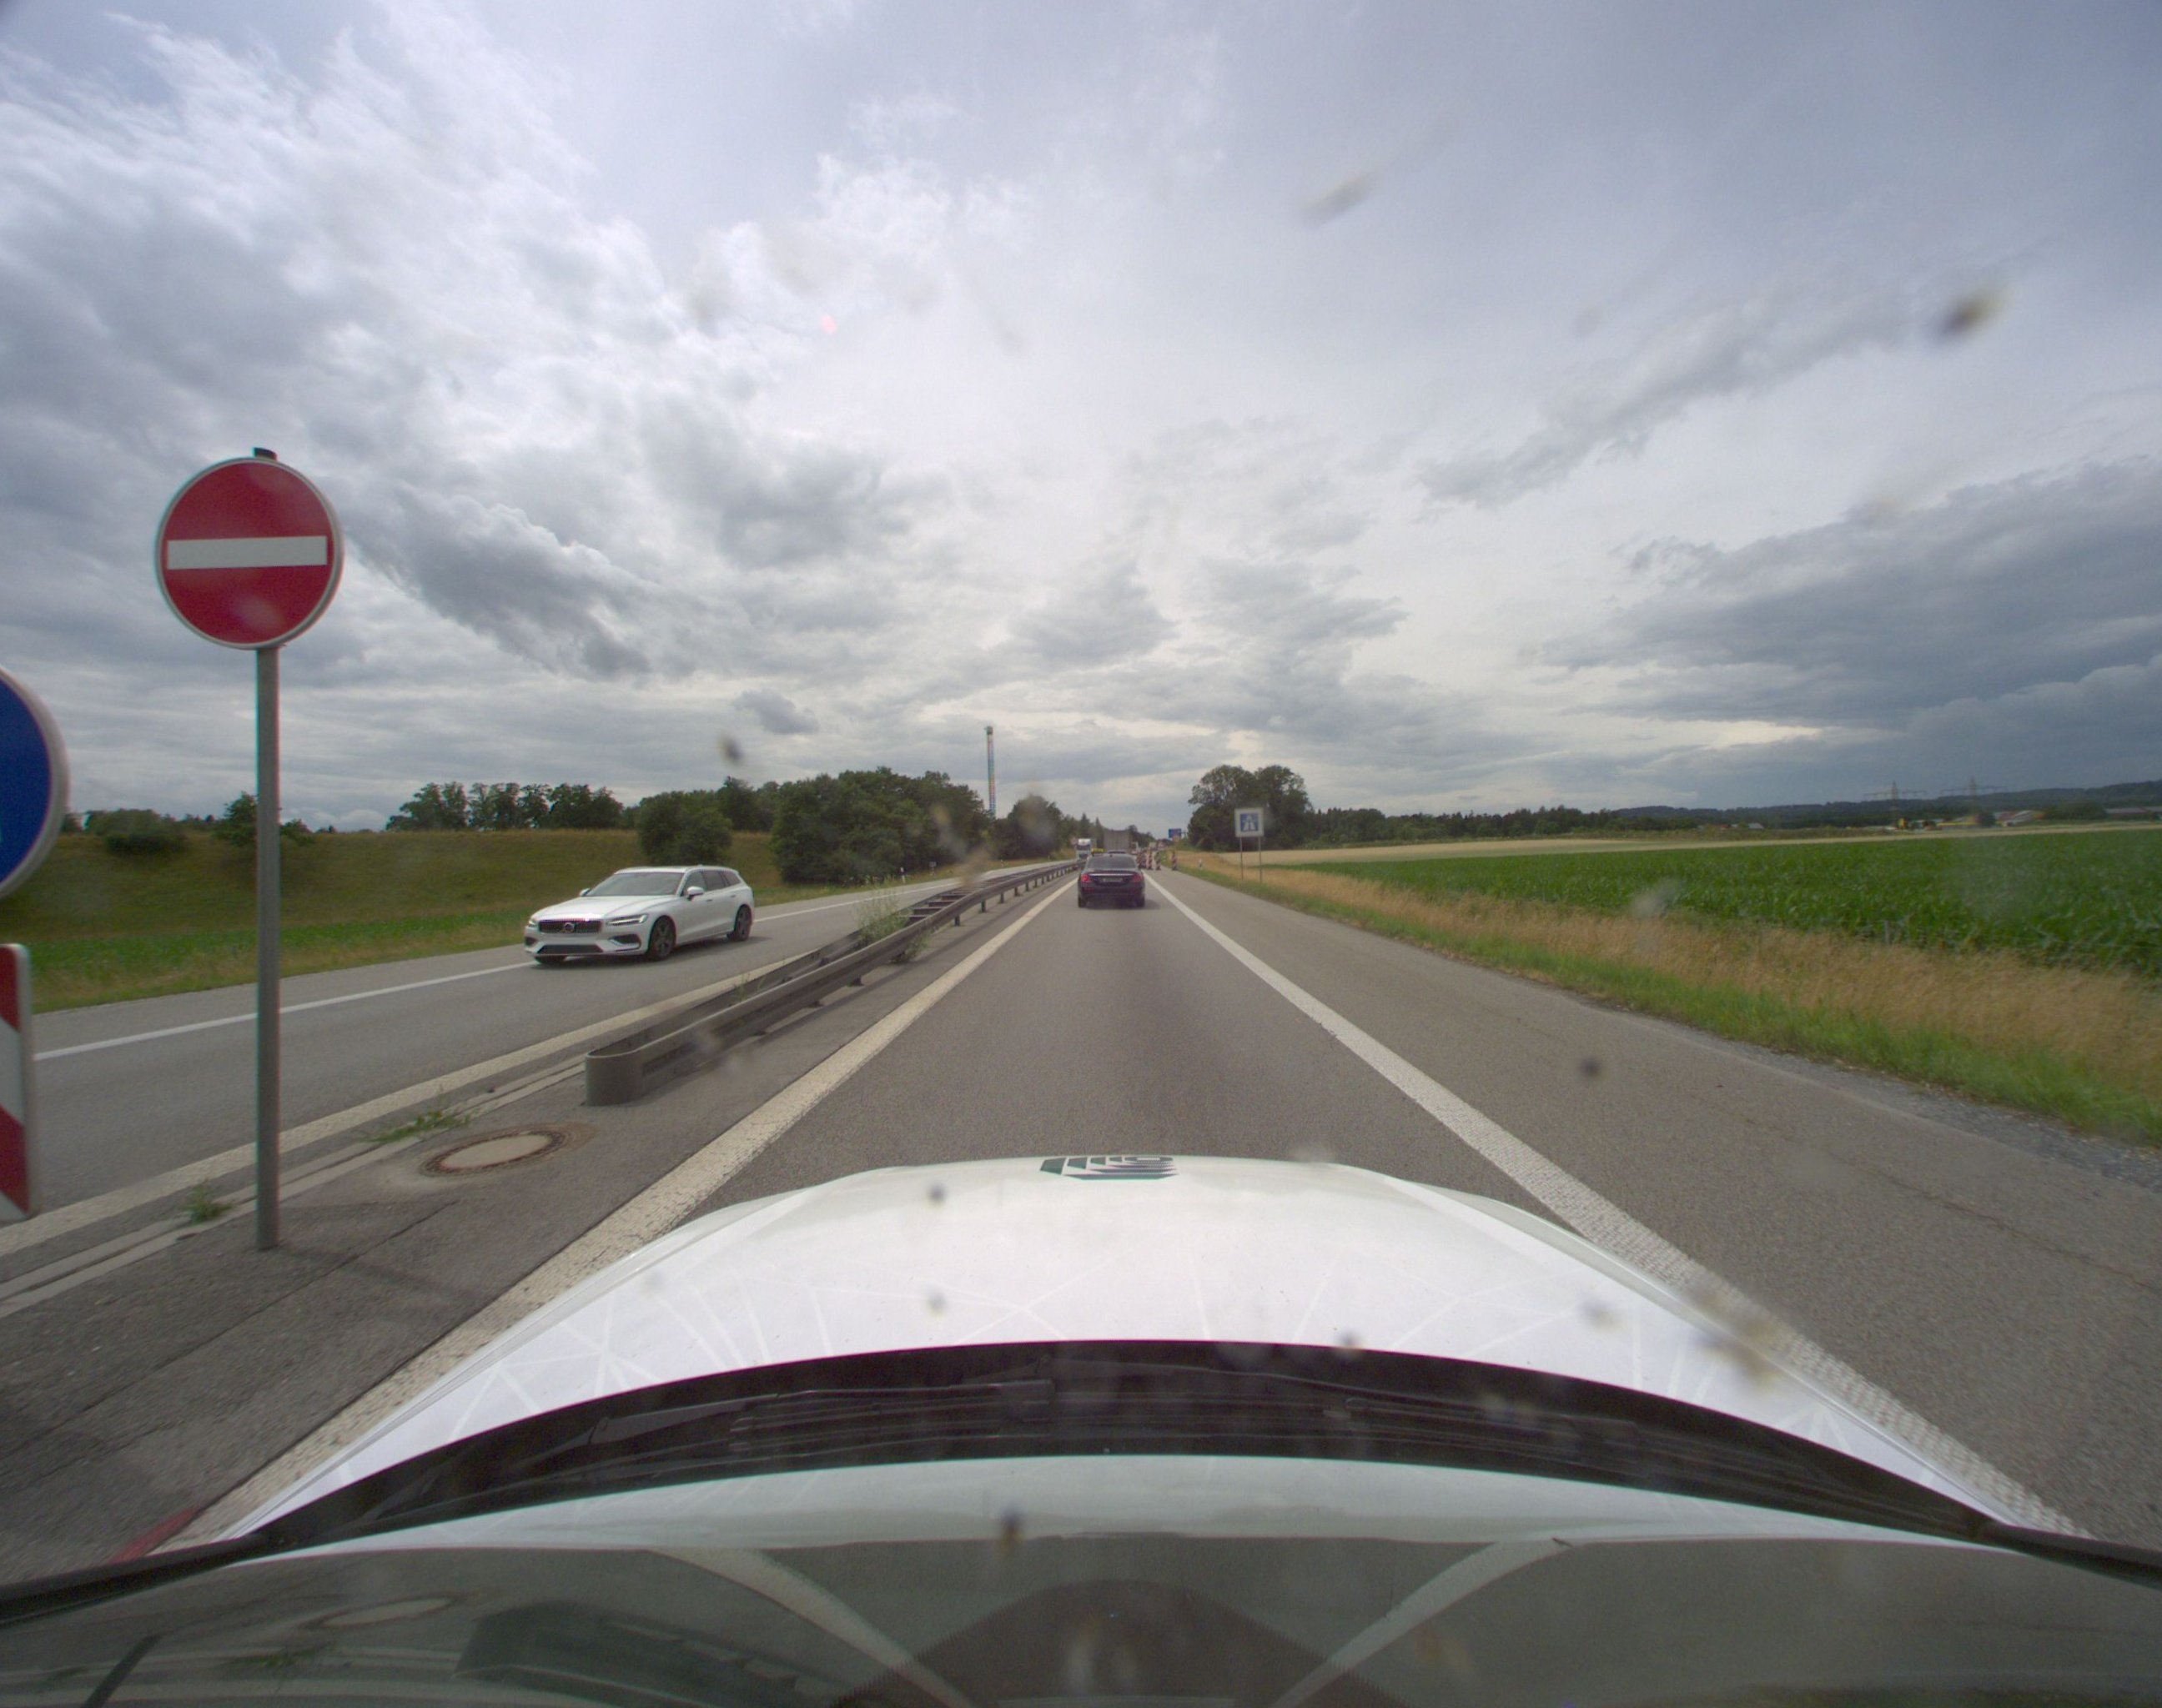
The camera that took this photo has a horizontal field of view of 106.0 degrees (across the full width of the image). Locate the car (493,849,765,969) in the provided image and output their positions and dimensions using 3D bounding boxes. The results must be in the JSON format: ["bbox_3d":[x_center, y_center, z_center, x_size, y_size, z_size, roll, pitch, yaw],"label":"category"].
[{"bbox_3d":[-7.085,0.774,13.462,1.810,1.632,4.603,0,-1,2],"label":"car"}]

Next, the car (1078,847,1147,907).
[{"bbox_3d":[0.888,0.606,23.050,1.789,1.560,4.002,0,-1,2],"label":"car"}]

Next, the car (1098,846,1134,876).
[{"bbox_3d":[2.424,0.513,57.092,1.990,2.014,3.993,0,-1,-5],"label":"car"}]

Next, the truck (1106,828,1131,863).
[{"bbox_3d":[3.865,-0.820,83.957,2.576,3.524,4.815,0,-1,2],"label":"truck"}]

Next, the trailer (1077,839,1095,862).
[{"bbox_3d":[1.009,-0.649,154.390,2.787,4.173,13.574,0,-1,3],"label":"trailer"}]

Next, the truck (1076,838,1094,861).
[{"bbox_3d":[0.756,-0.711,149.051,2.787,4.142,7.234,0,-1,3],"label":"truck"}]

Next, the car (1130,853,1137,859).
[{"bbox_3d":[12.727,0.483,197.886,1.644,1.395,3.705,0,-1,0],"label":"car"}]
